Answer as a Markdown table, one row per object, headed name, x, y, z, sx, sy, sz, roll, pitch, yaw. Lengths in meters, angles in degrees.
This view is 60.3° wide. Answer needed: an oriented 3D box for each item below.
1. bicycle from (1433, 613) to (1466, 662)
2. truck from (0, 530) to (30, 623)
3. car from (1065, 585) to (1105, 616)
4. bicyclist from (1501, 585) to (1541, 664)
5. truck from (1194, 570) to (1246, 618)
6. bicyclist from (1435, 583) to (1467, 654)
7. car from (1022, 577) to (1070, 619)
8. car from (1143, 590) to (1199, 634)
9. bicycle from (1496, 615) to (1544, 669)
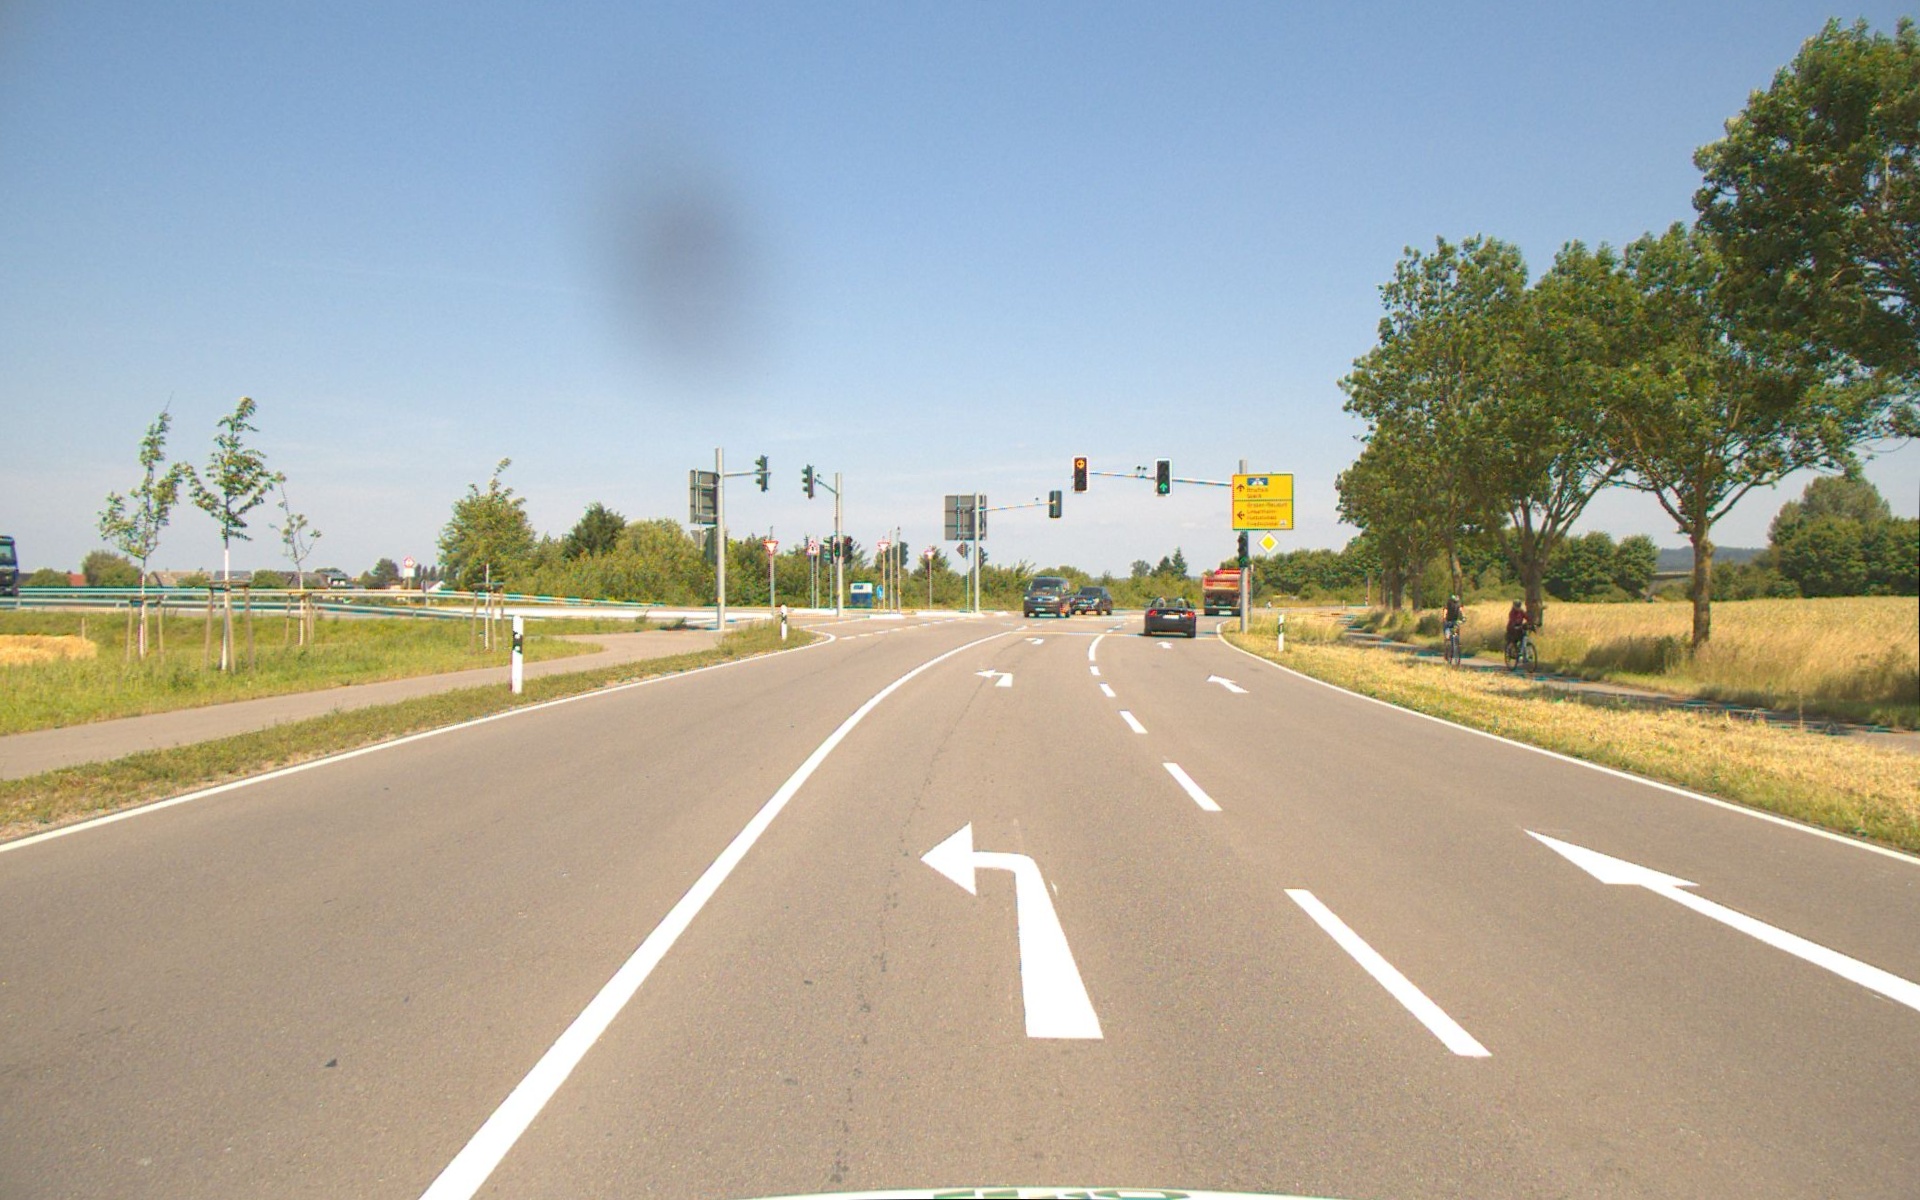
| name | x | y | z | sx | sy | sz | roll | pitch | yaw |
| --- | --- | --- | --- | --- | --- | --- | --- | --- | --- |
| bicycle | 12.626 | 0.948 | 42.693 | 0.592 | 1.197 | 2.052 | 3 | 0 | 12 |
| truck | -44.908 | -1.025 | 69.498 | 9.885 | 3.859 | 2.623 | 1 | 0 | -6 |
| car | 7.394 | 0.013 | 97.616 | 1.889 | 1.770 | 4.893 | 1 | 1 | 10 |
| bicyclist | 13.516 | 0.577 | 39.866 | 0.614 | 1.813 | 0.978 | 4 | 1 | 9 |
| truck | 17.529 | -0.348 | 111.115 | 2.656 | 3.106 | 8.170 | 0 | -1 | 15 |
| bicyclist | 12.673 | 0.466 | 42.699 | 0.575 | 1.764 | 1.173 | 4 | 1 | 12 |
| car | 4.340 | -0.107 | 82.882 | 1.889 | 2.012 | 4.688 | 1 | 0 | 10 |
| car | 7.196 | 0.421 | 56.133 | 1.710 | 1.400 | 3.682 | 1 | -1 | 10 |
| bicycle | 13.472 | 0.997 | 39.835 | 0.684 | 1.231 | 2.052 | 3 | 0 | 8 |
